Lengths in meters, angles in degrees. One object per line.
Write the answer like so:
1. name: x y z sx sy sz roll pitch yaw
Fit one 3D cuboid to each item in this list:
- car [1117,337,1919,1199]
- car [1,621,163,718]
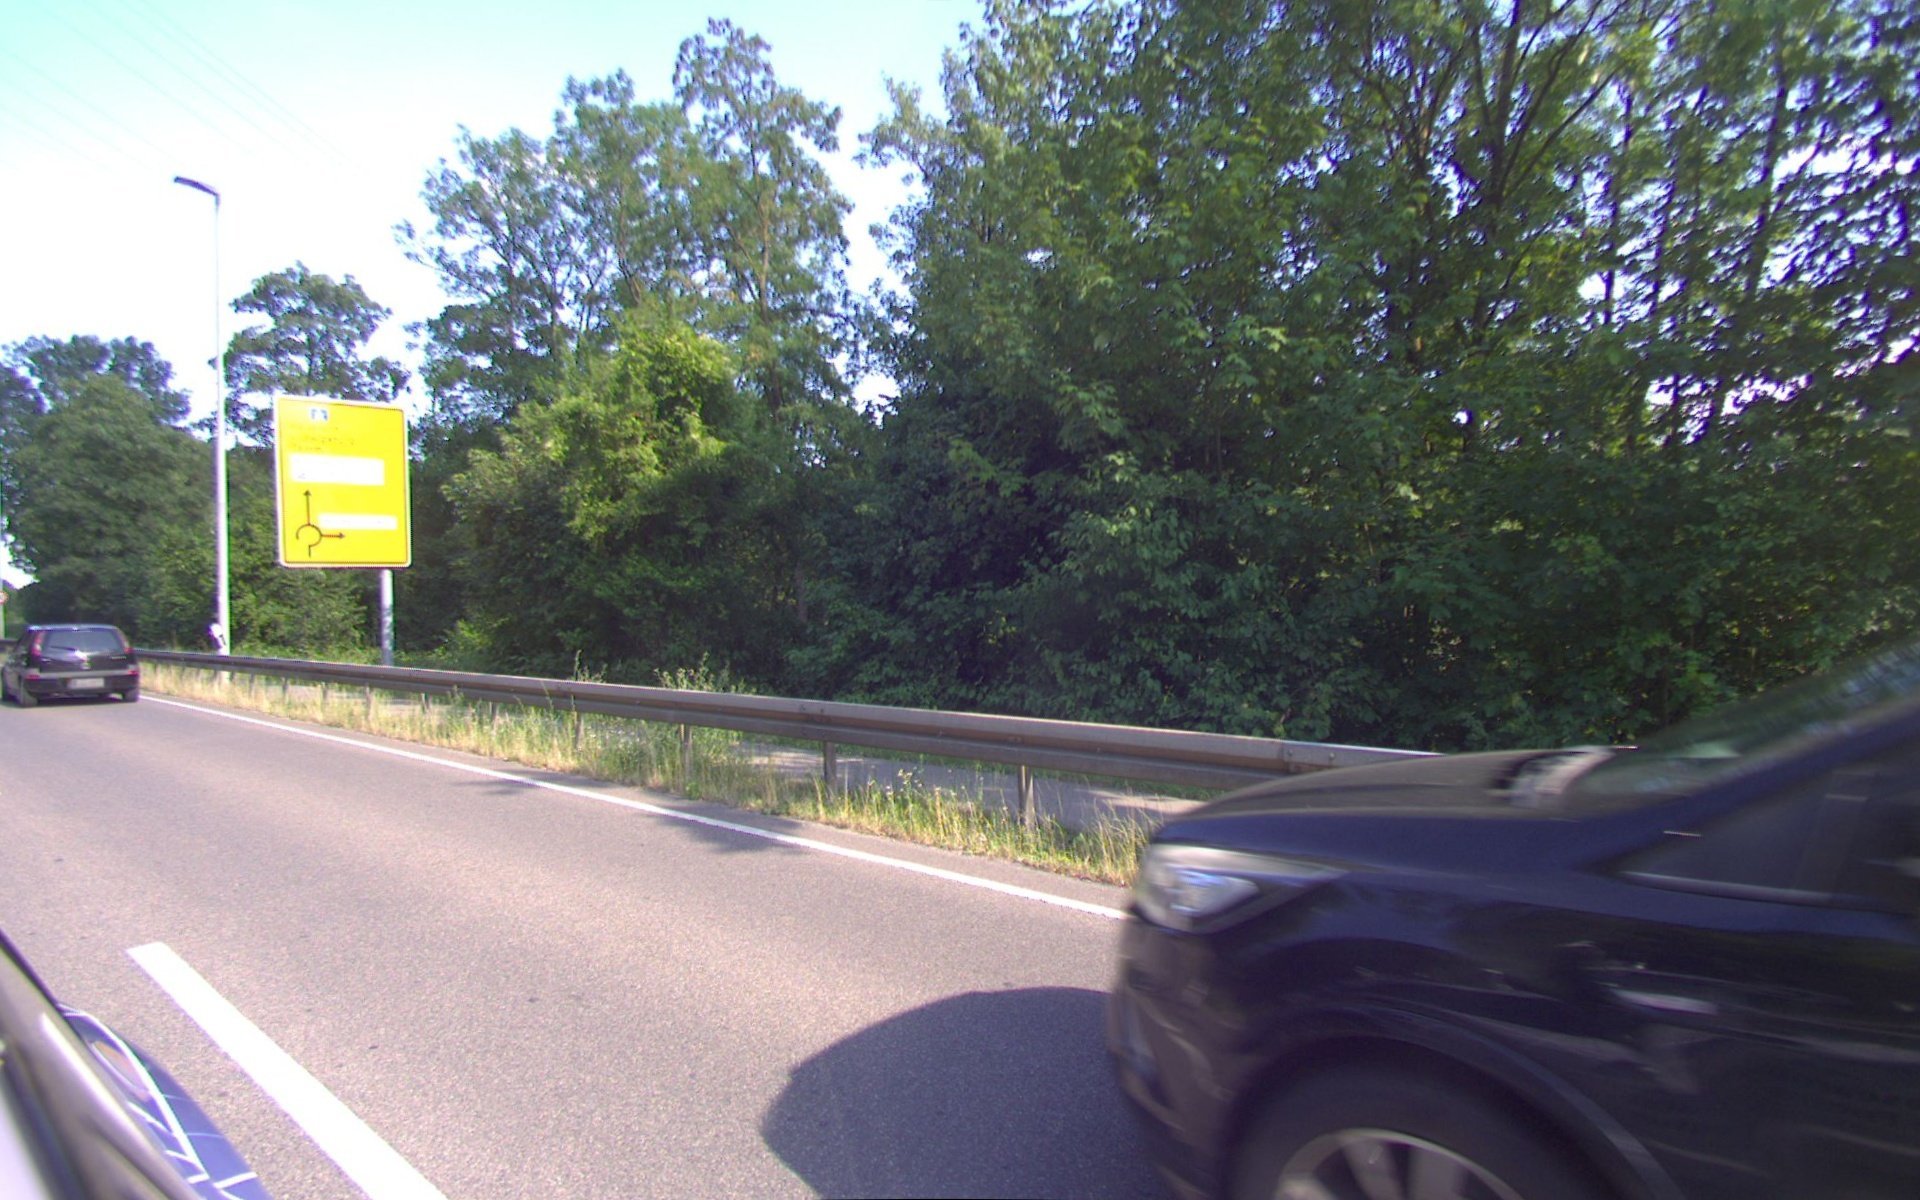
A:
1. car: 2.456 0.542 1.205 4.219 1.731 1.730 -1 -2 41
2. car: -15.091 1.105 17.323 4.000 1.453 1.663 -1 -1 43
